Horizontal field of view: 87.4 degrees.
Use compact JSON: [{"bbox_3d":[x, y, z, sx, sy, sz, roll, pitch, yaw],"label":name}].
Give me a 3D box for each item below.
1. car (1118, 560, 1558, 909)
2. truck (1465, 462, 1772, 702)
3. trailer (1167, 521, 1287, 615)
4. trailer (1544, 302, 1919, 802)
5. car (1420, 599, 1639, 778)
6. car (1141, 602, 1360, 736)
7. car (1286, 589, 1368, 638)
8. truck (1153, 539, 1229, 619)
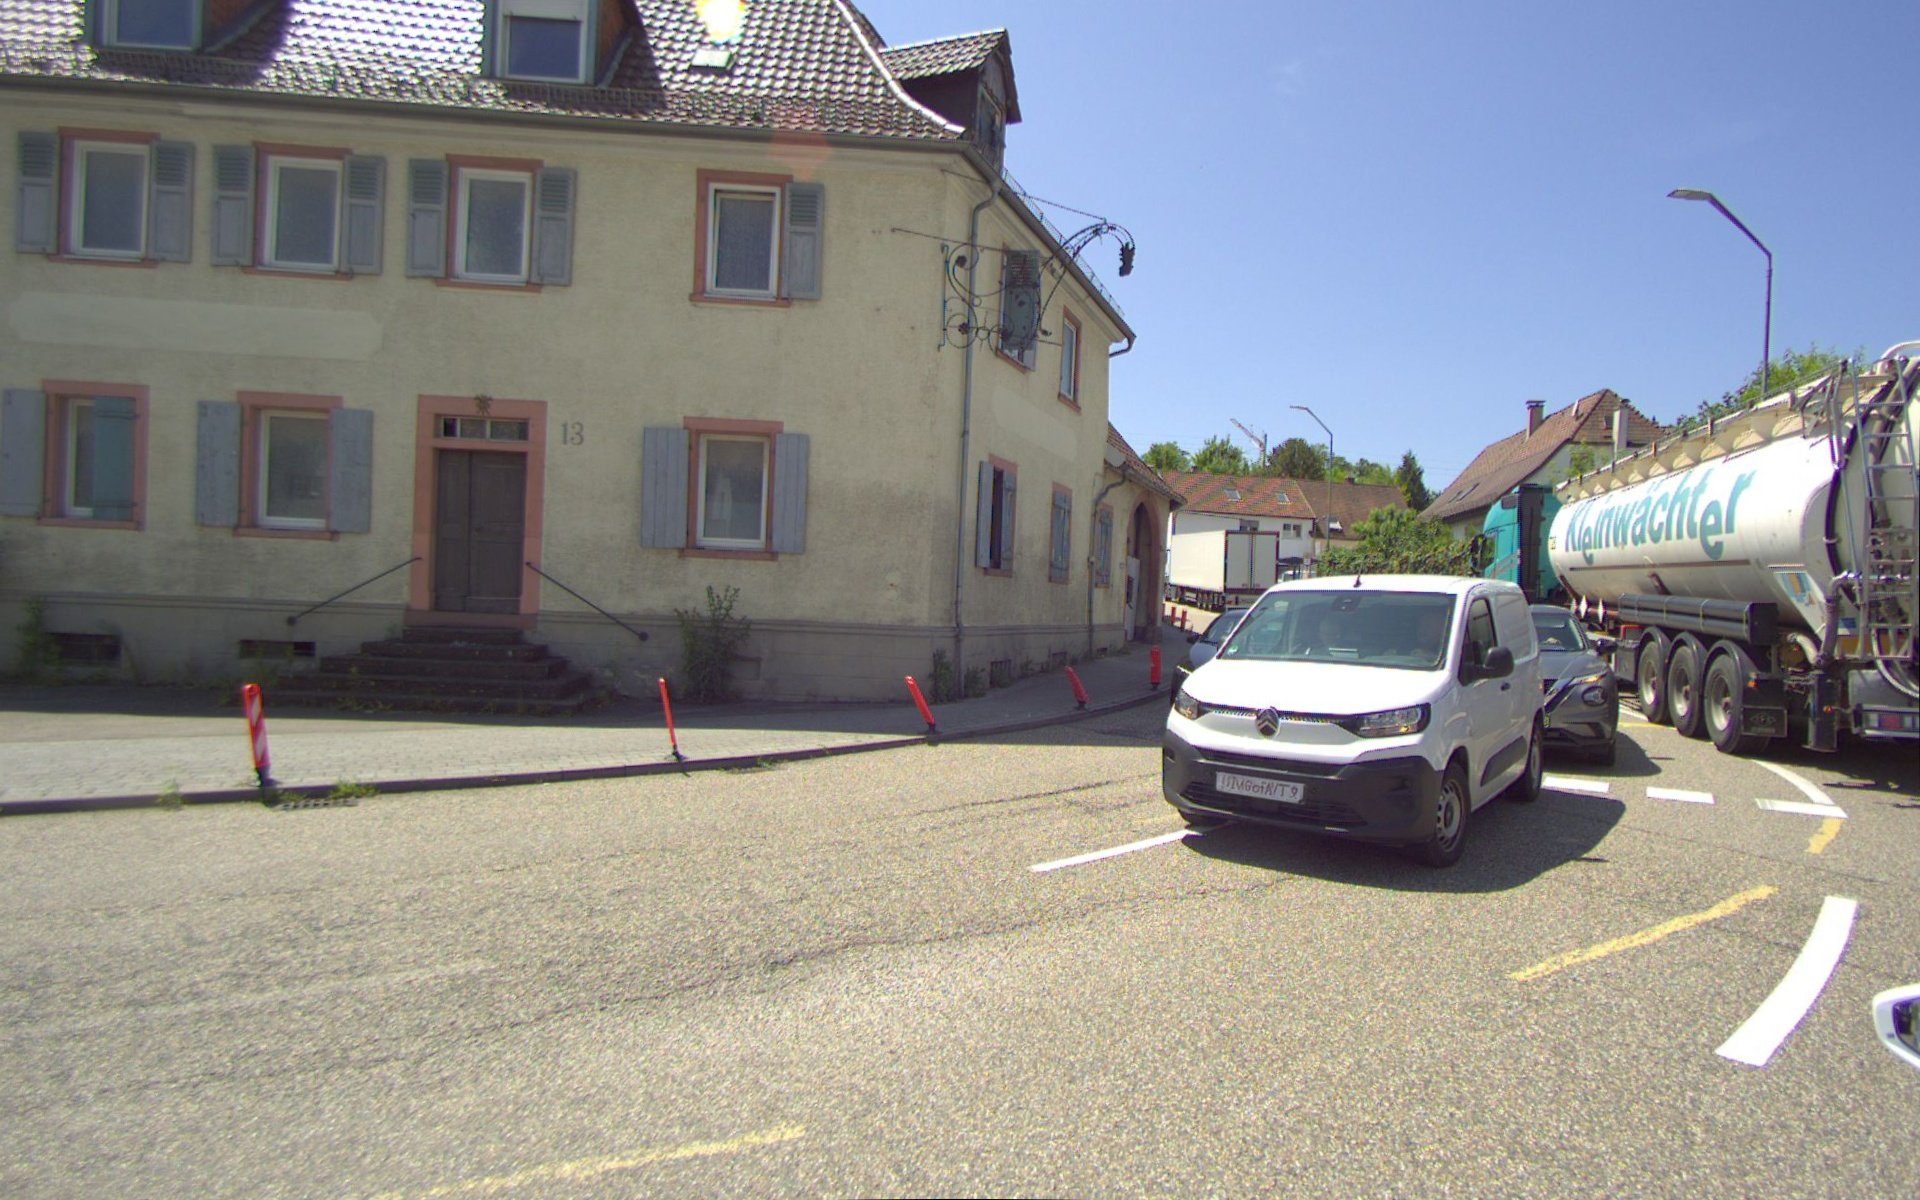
[{"bbox_3d":[3.119,0.696,7.594,1.850,1.809,4.503,2,1,37],"label":"car"},{"bbox_3d":[12.669,-0.386,20.035,2.936,4.018,5.581,2,2,10],"label":"truck"},{"bbox_3d":[13.812,-1.597,53.416,3.080,4.334,12.494,2,1,1],"label":"trailer"},{"bbox_3d":[10.469,-0.382,13.179,2.904,4.001,11.614,3,1,21],"label":"trailer"},{"bbox_3d":[6.335,0.818,11.473,1.764,1.544,3.995,3,2,27],"label":"car"},{"bbox_3d":[4.073,0.790,13.650,1.811,1.461,3.990,2,1,32],"label":"car"},{"bbox_3d":[13.154,0.456,36.173,1.752,1.606,3.607,3,0,4],"label":"car"},{"bbox_3d":[13.822,-1.276,60.645,3.053,4.460,5.934,3,2,0],"label":"truck"}]
